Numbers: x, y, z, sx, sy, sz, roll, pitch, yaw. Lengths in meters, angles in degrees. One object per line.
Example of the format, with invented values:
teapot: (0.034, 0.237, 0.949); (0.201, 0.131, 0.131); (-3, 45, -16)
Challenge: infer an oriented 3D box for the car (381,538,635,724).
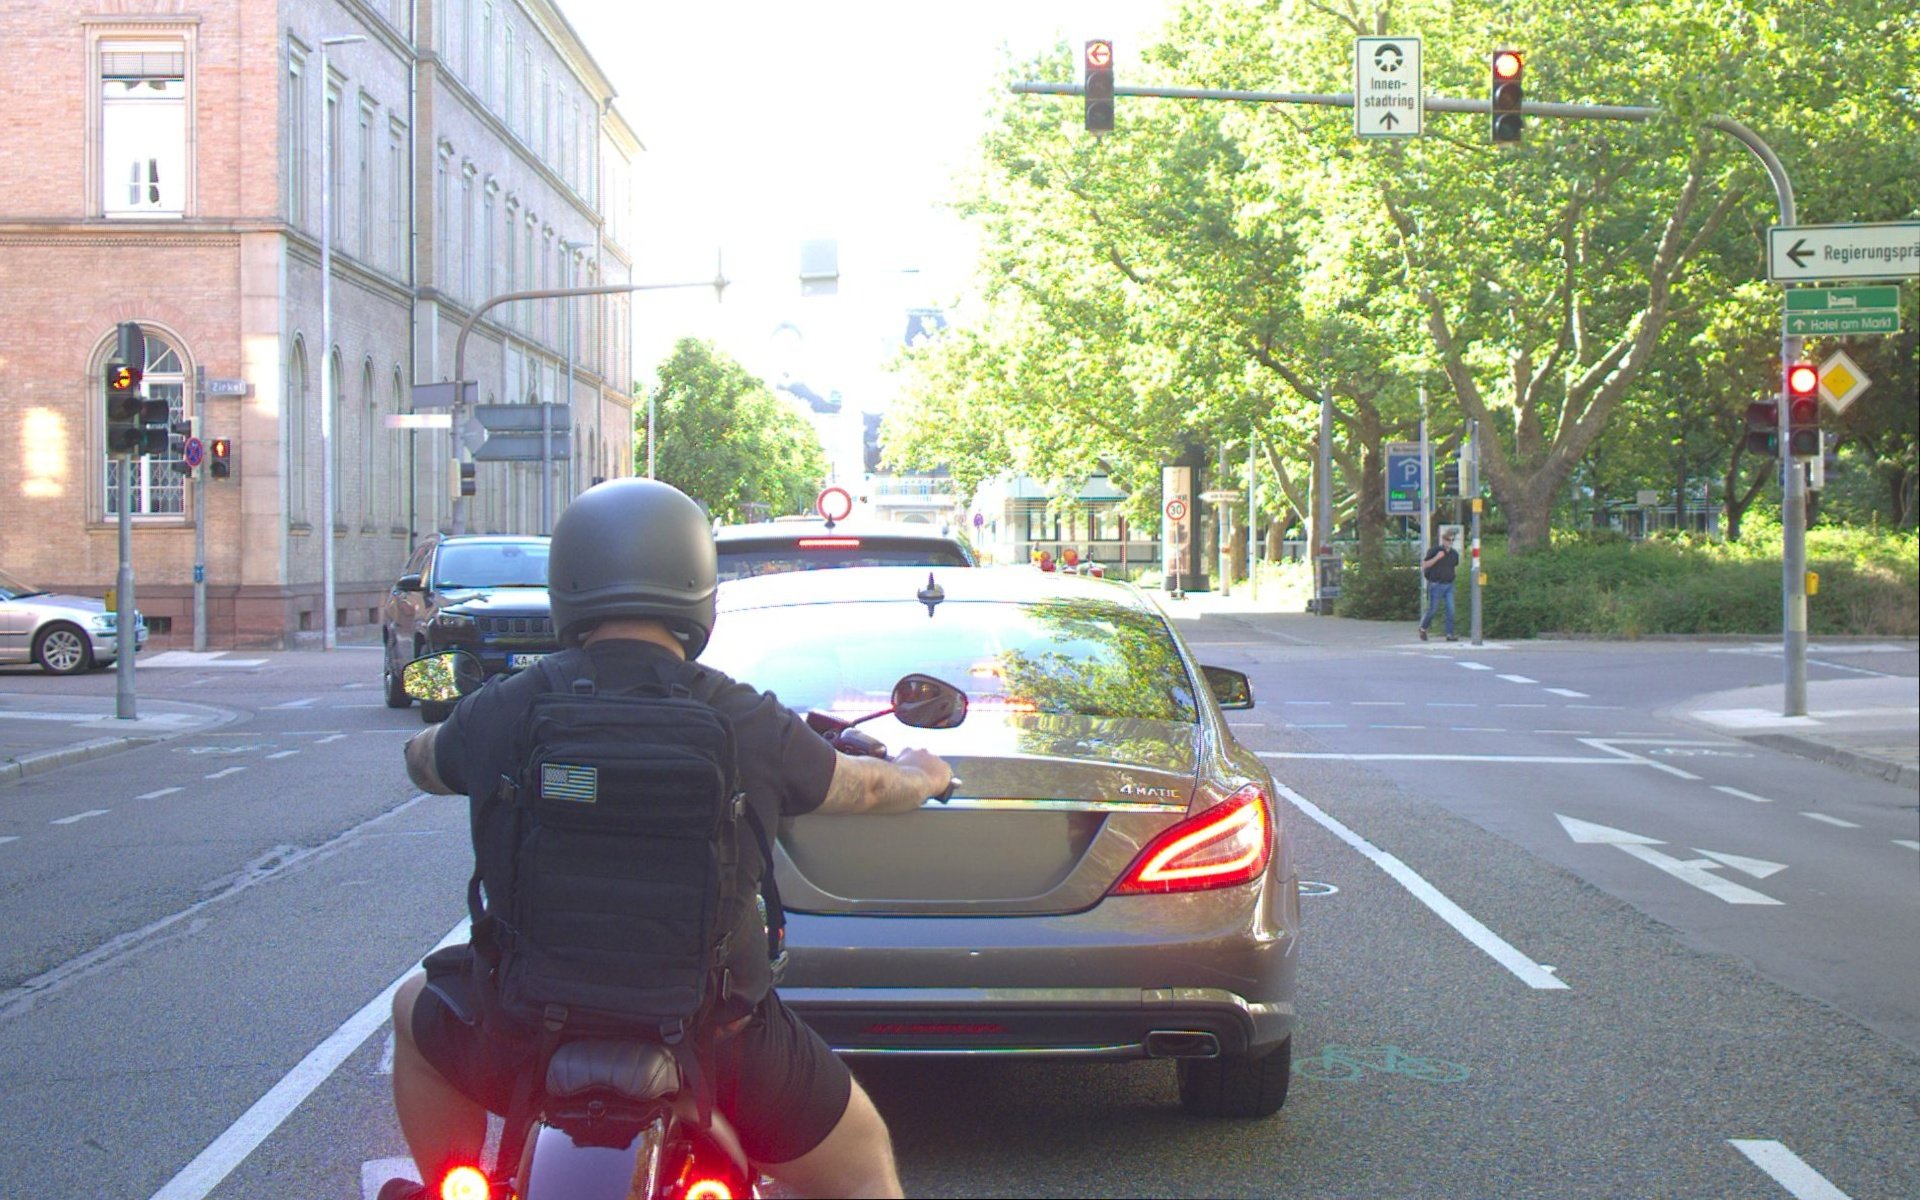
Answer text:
car: (-4.195, 0.238, 31.359); (1.849, 1.565, 4.387); (1, 1, -13)

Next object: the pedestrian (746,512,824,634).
pedestrian: (-2.644, -0.409, 52.051); (1.002, 1.820, 1.076); (1, 0, 6)

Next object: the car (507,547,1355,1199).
car: (-0.087, 0.594, 9.630); (1.882, 1.444, 3.820); (1, 1, -1)

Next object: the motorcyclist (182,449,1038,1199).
motorcyclist: (-0.487, 0.594, 5.321); (1.149, 1.593, 1.288); (1, 0, -1)

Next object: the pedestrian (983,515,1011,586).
pedestrian: (1.088, -1.451, 100.814); (0.764, 2.044, 0.712); (1, 0, -1)

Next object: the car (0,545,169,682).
car: (-11.637, 0.132, 40.825); (4.121, 1.569, 1.858); (1, 0, -5)

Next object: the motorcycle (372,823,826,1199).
motorcycle: (-0.500, 0.925, 5.352); (0.513, 0.999, 2.013); (1, 1, -1)

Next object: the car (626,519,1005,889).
car: (-0.641, 0.410, 16.746); (1.621, 1.588, 4.000); (0, 1, -1)

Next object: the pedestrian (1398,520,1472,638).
pedestrian: (7.717, -0.341, 55.883); (0.749, 1.903, 0.926); (1, 0, -28)
